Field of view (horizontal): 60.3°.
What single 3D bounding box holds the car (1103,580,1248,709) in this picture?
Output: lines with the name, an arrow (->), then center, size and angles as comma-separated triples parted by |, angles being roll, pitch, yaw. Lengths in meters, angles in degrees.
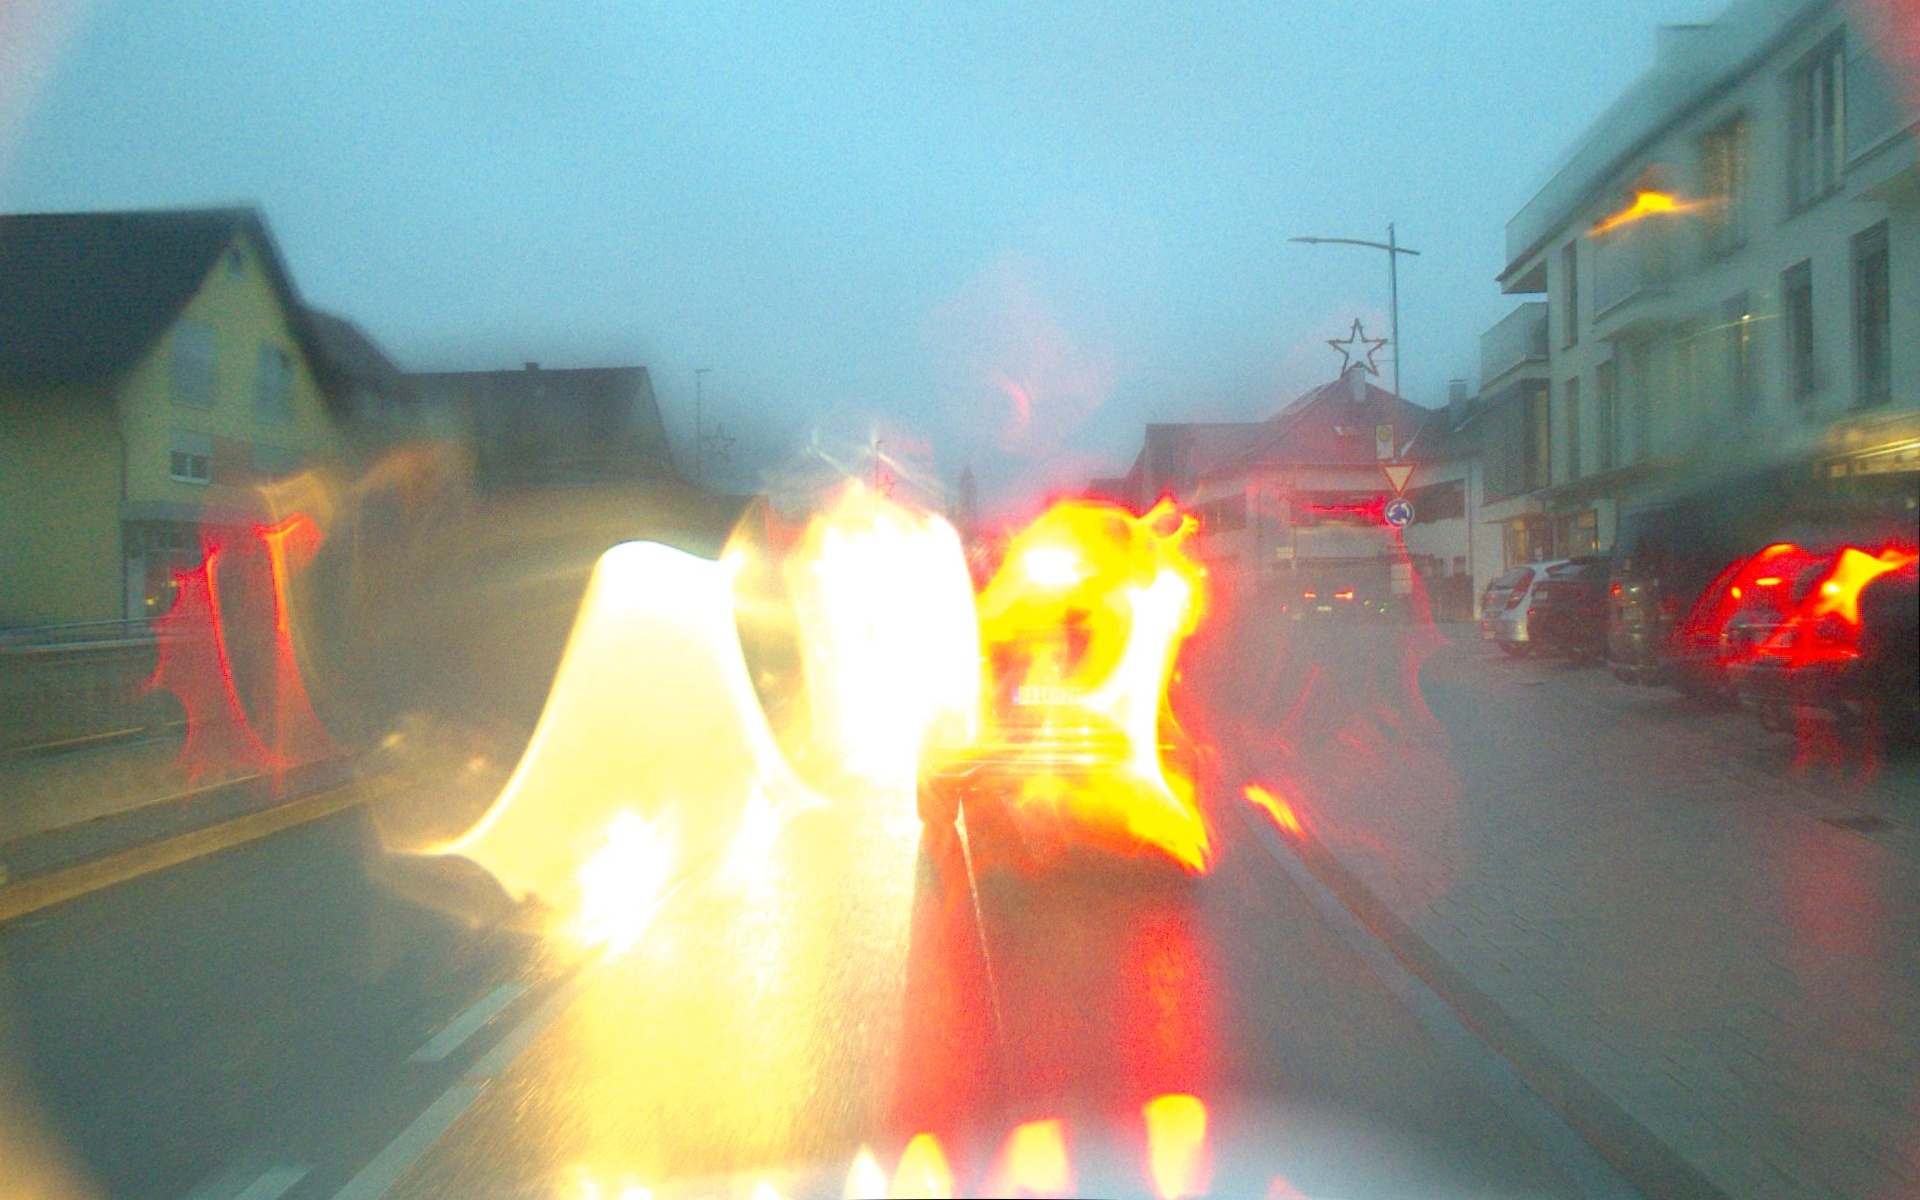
car -> 2.694, 0.505, 21.114 | 1.647, 1.478, 4.003 | -1, 0, 6

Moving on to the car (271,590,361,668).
car -> -14.712, 0.621, 37.834 | 1.796, 1.641, 4.031 | -1, 1, -21

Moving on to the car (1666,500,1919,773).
car -> 7.659, 0.052, 12.087 | 4.095, 1.666, 1.803 | -8, 1, -2

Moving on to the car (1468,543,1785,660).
car -> 10.230, 0.021, 25.589 | 4.120, 1.485, 1.793 | -4, 0, 0

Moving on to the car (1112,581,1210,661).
car -> 3.891, 0.361, 32.298 | 1.776, 1.436, 4.003 | 1, 1, 6

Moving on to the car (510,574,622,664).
car -> -9.245, 0.400, 38.583 | 2.009, 1.959, 4.031 | -1, 1, -21

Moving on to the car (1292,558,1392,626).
car -> 12.856, -0.301, 55.428 | 2.116, 2.025, 4.495 | -4, 0, 27

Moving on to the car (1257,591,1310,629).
car -> 13.846, 0.423, 70.999 | 1.533, 1.437, 3.602 | -5, 0, 1

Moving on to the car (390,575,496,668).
car -> -11.855, 0.441, 37.771 | 2.009, 1.959, 4.031 | -1, 1, -21

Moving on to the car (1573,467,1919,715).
car -> 8.485, -0.182, 15.710 | 4.469, 1.953, 1.950 | -6, -1, 4

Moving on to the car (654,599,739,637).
car -> -10.641, 0.741, 67.019 | 1.951, 1.443, 4.003 | 0, -1, 14

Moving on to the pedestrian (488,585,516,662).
pedestrian -> -10.564, 0.535, 38.116 | 0.489, 1.731, 0.708 | -3, 1, -21

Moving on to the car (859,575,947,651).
car -> -1.302, 0.263, 39.405 | 1.701, 1.682, 4.002 | -1, 1, 3

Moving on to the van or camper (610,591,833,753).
van or camper -> -2.234, 0.625, 16.289 | 1.529, 1.379, 3.423 | -2, 0, 3

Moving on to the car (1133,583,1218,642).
car -> 5.488, 0.293, 42.572 | 1.951, 1.416, 4.003 | -1, 1, 5

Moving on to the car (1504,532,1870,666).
car -> 9.788, -0.008, 22.491 | 4.120, 1.485, 1.793 | -4, 0, 0

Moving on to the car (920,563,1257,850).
car -> 0.952, 0.578, 11.690 | 1.923, 1.622, 4.316 | 1, 1, 6
